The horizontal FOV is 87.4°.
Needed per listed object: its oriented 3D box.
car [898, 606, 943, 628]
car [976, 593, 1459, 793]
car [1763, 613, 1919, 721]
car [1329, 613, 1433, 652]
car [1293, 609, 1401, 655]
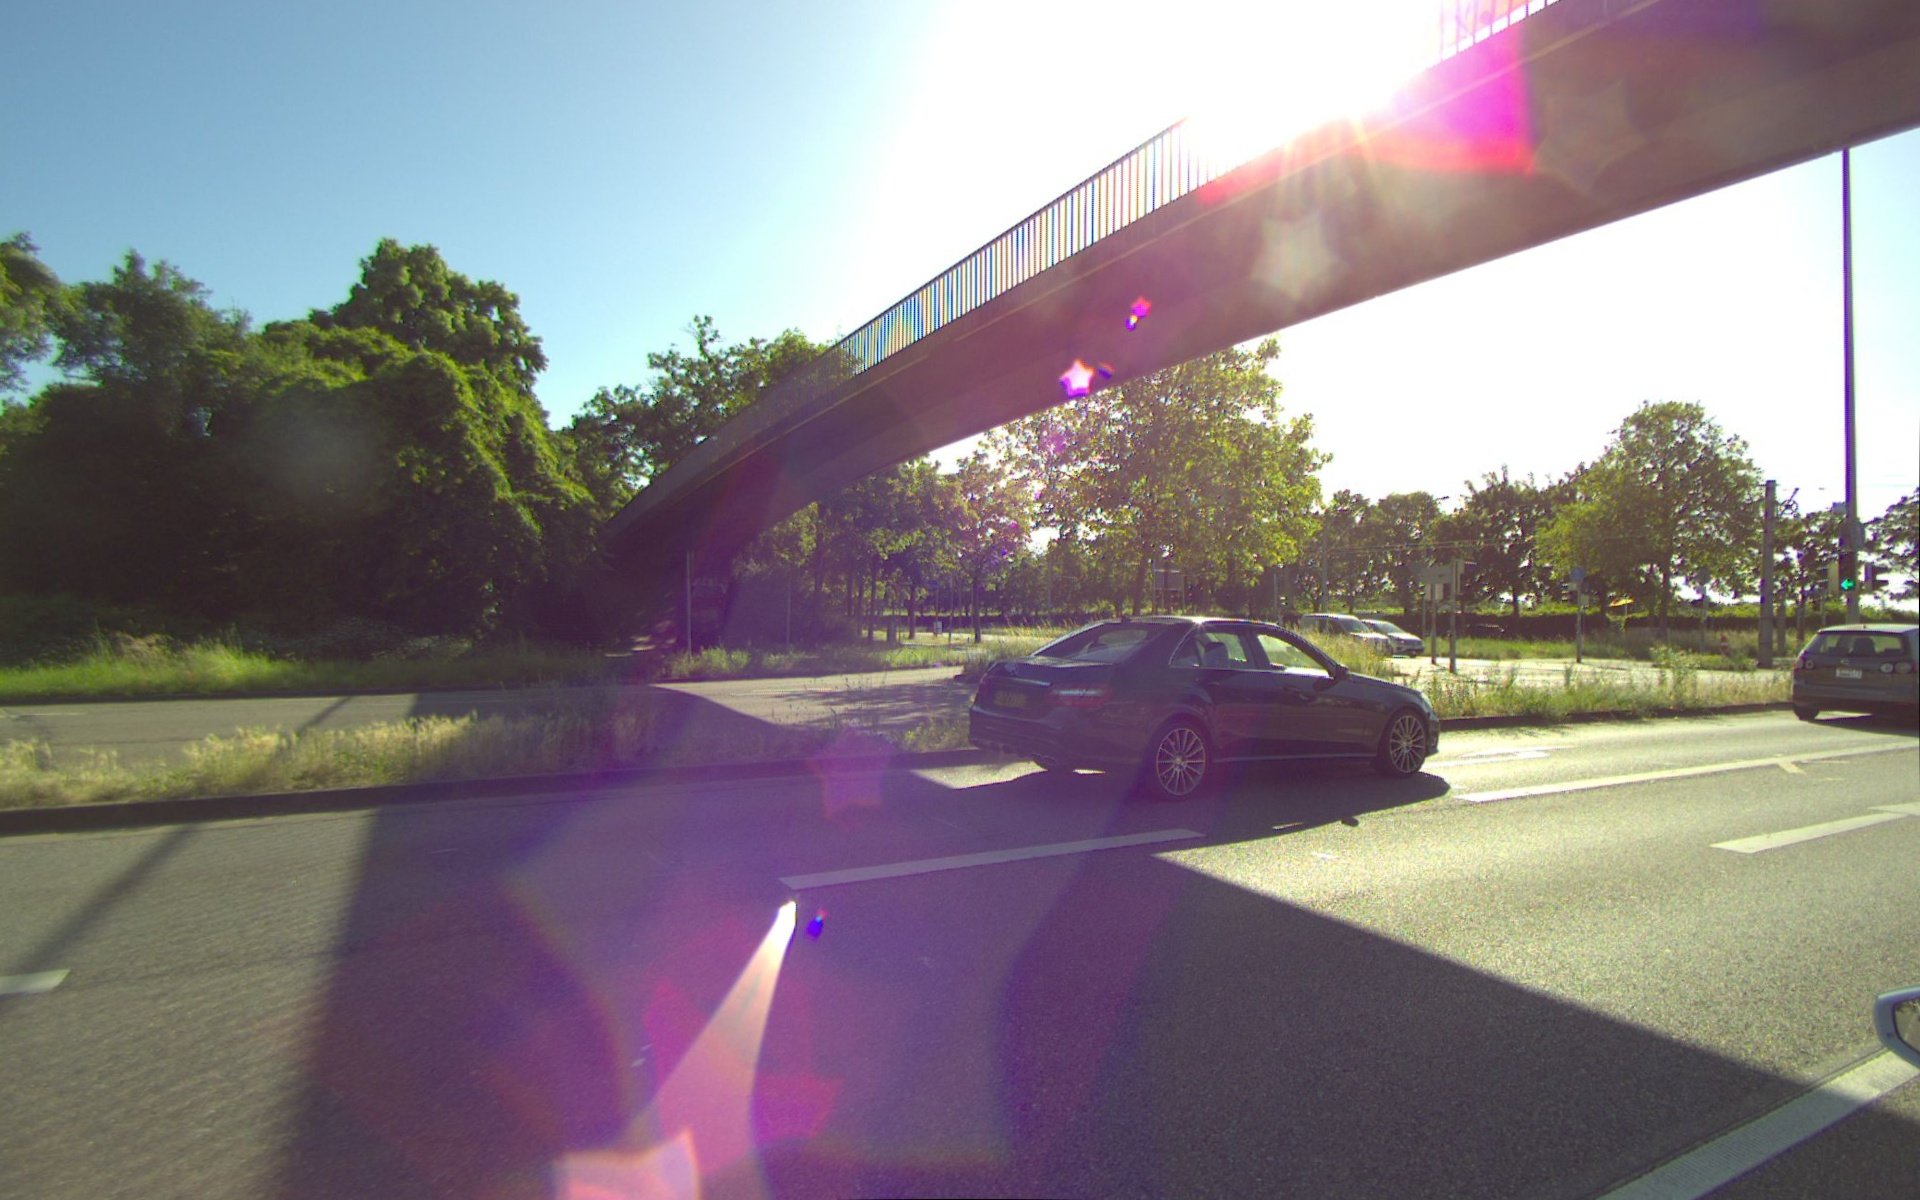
[{"bbox_3d":[-2.968,1.234,74.980,1.830,1.581,3.897,2,-1,-28],"label":"car"},{"bbox_3d":[2.516,0.739,9.491,4.476,1.506,1.766,1,0,-30],"label":"car"},{"bbox_3d":[15.581,1.087,16.783,4.332,1.591,1.834,2,-1,-28],"label":"car"},{"bbox_3d":[18.352,1.412,43.897,1.831,1.581,3.894,2,-1,-30],"label":"car"},{"bbox_3d":[15.877,1.277,41.392,1.757,1.778,3.968,1,-1,-30],"label":"car"}]
